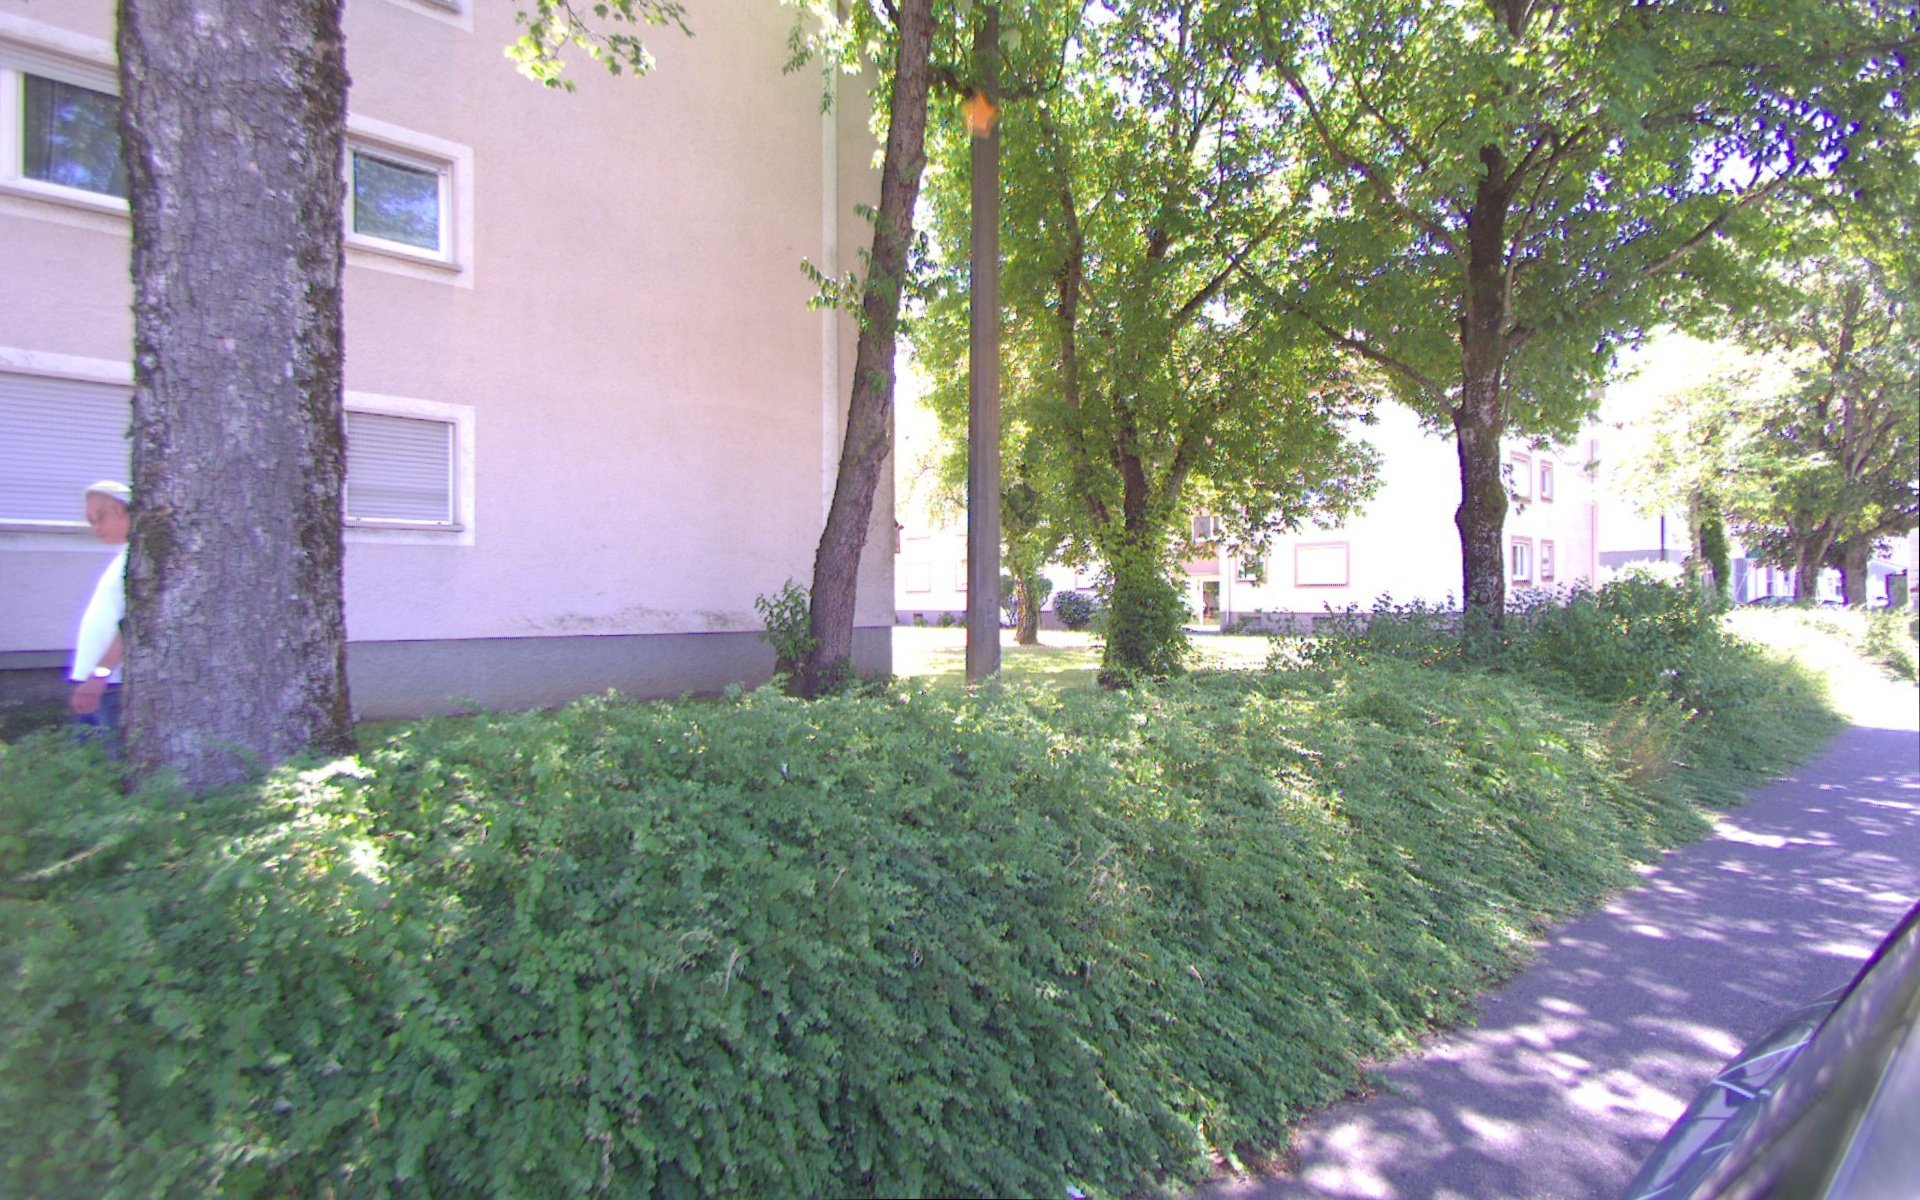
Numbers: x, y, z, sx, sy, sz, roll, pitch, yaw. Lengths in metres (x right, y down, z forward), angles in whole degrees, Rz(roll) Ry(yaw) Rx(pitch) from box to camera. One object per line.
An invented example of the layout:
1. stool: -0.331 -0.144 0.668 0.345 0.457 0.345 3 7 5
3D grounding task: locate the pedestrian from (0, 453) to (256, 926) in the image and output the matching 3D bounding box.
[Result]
1. pedestrian: -3.894 0.360 4.619 0.668 1.897 0.894 -2 -1 28
